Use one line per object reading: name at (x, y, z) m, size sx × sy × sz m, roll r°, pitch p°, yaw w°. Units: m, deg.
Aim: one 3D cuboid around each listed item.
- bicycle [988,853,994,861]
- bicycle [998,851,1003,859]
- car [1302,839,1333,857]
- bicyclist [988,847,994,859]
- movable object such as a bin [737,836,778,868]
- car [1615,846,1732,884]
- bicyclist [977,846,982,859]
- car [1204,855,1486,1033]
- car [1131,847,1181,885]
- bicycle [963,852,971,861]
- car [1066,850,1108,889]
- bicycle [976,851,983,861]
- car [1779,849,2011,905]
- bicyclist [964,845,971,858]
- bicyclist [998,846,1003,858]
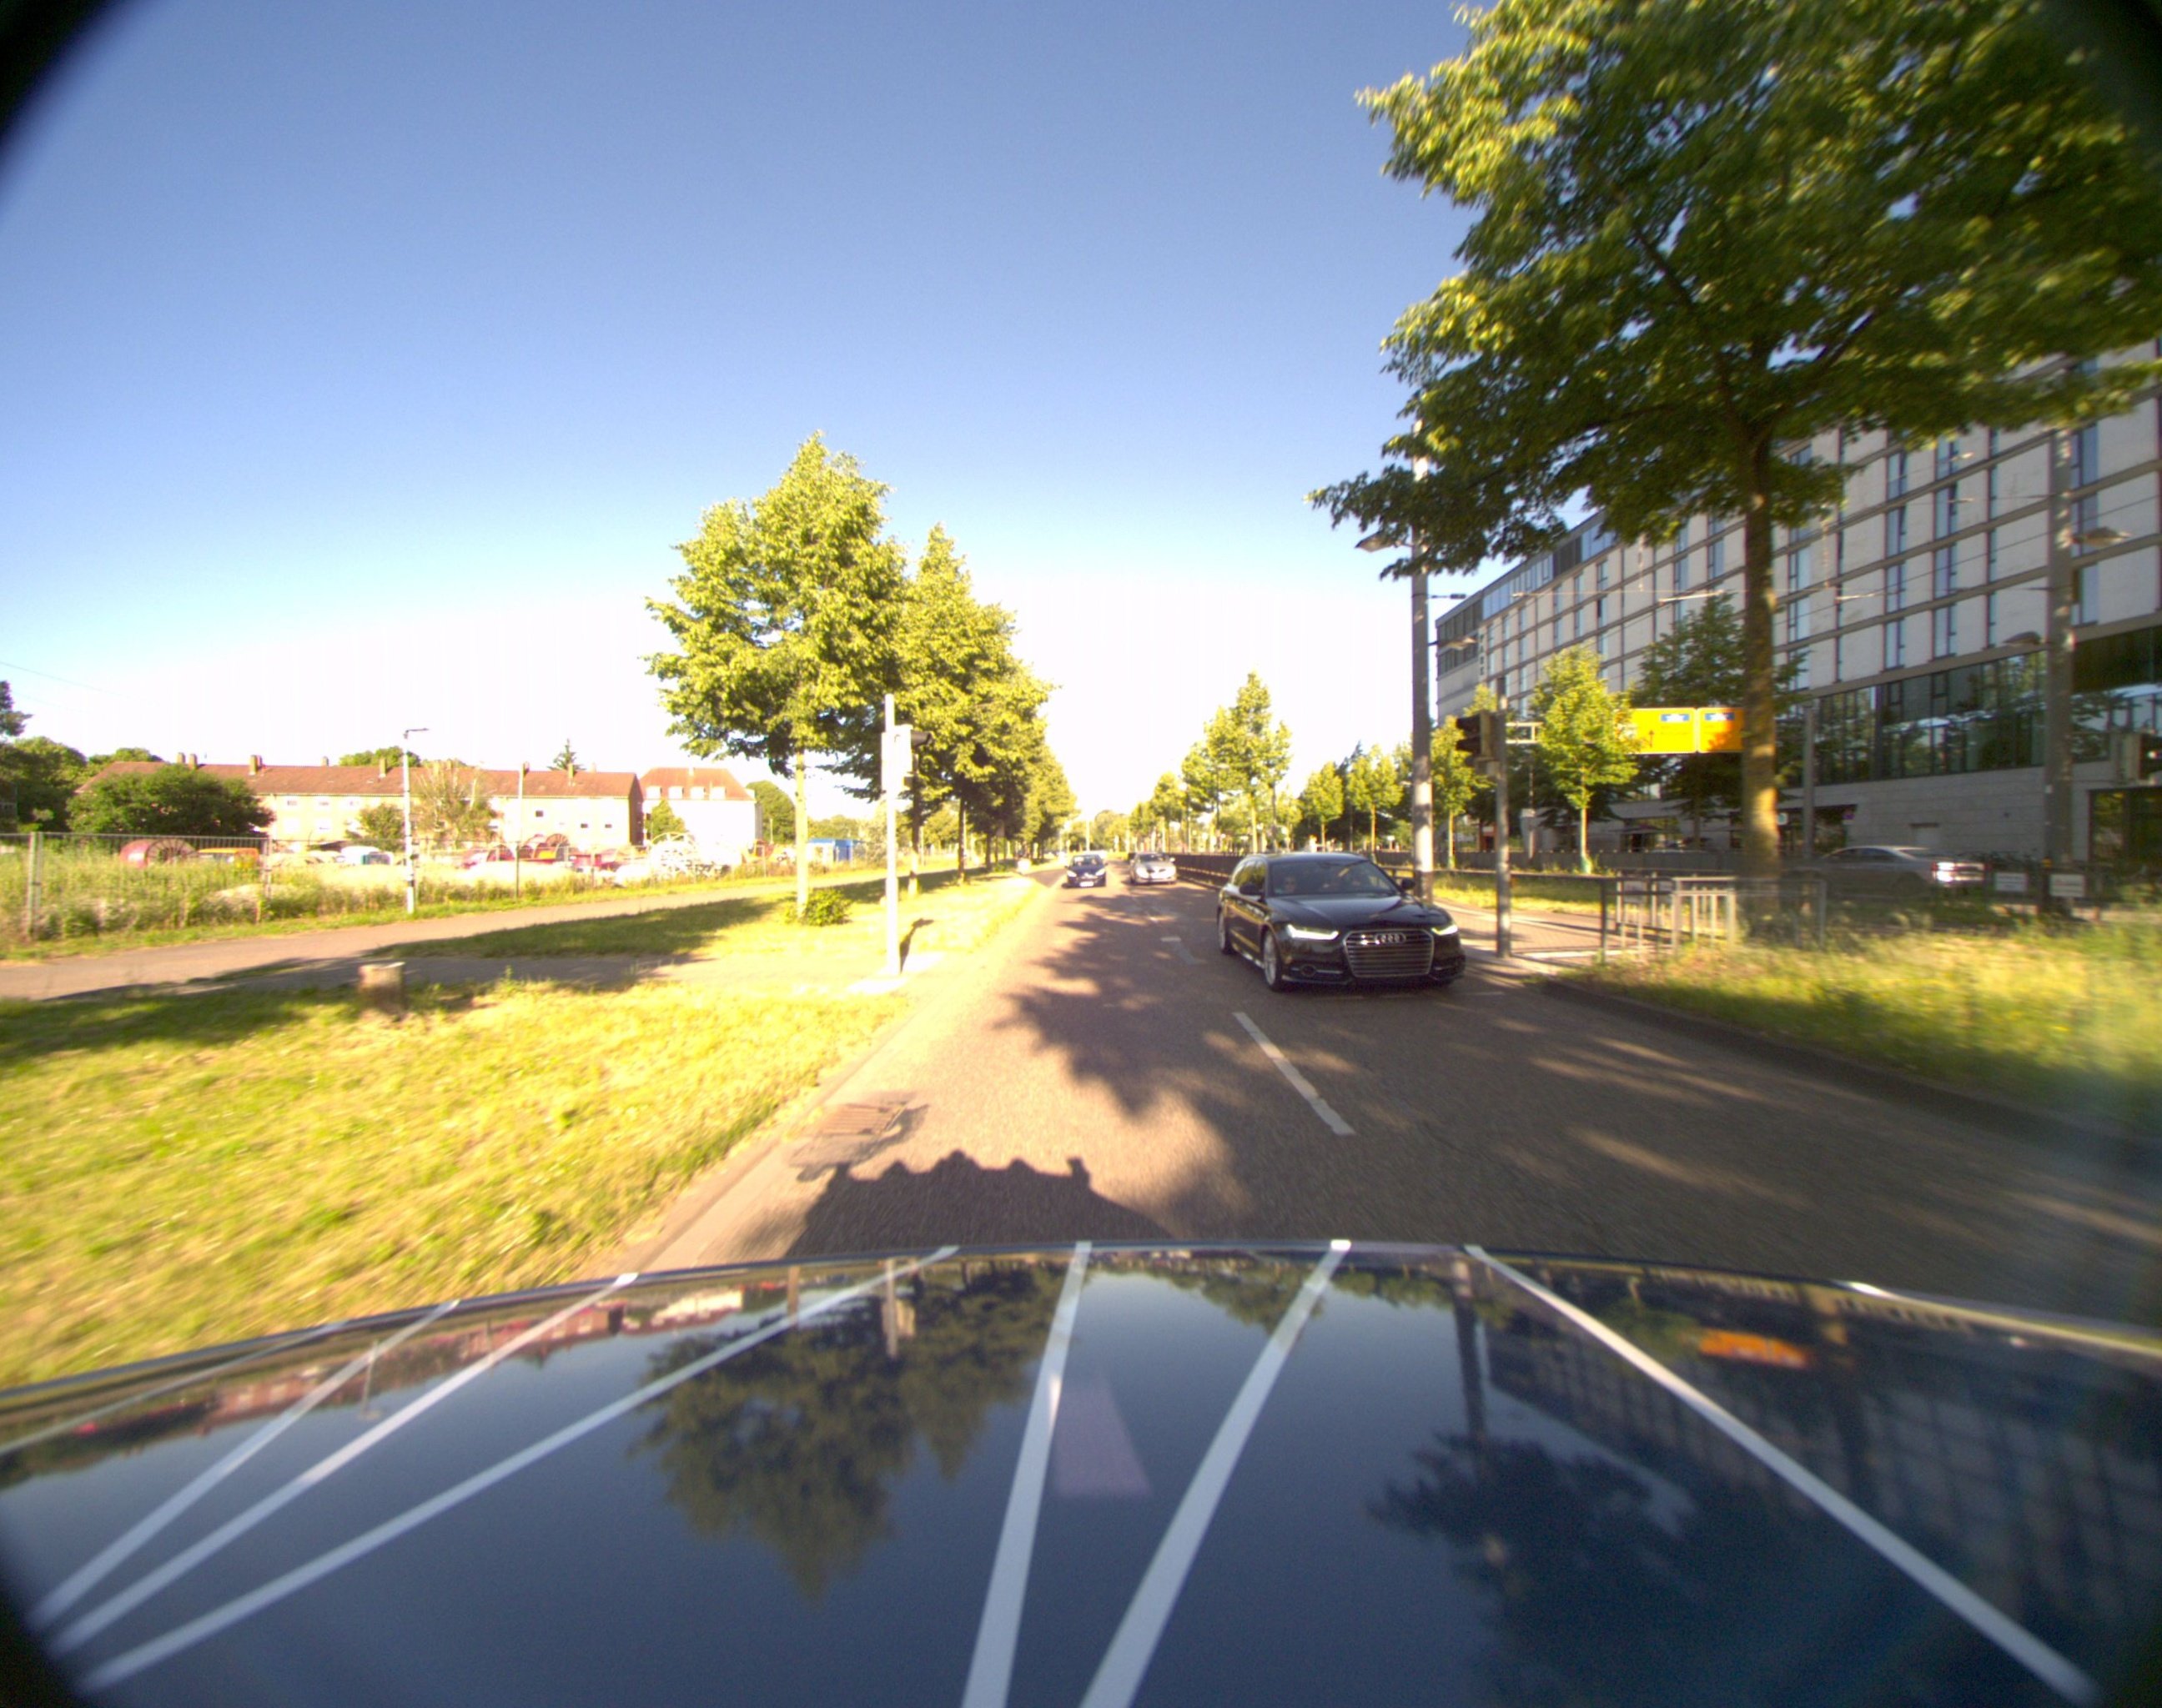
bicycle at (-11.981, 0.419, 101.114) m, size 0.592 × 0.955 × 1.900 m, roll -1°, pitch 2°, yaw 1°
bicycle at (-10.678, 0.138, 101.036) m, size 0.479 × 1.076 × 1.643 m, roll -1°, pitch 2°, yaw 2°
car at (24.275, -0.642, 78.125) m, size 1.998 × 1.740 × 4.227 m, roll 0°, pitch 1°, yaw 1°
bicyclist at (-11.995, -0.155, 101.103) m, size 0.592 × 1.578 × 0.965 m, roll -1°, pitch 3°, yaw 1°
movable object such as a bin at (-21.088, -0.133, 49.636) m, size 1.799 × 2.003 × 1.789 m, roll -1°, pitch 2°, yaw 2°
car at (25.803, 0.423, 33.300) m, size 1.764 × 1.396 × 4.332 m, roll -1°, pitch 2°, yaw 1°
bicyclist at (-11.847, -0.181, 88.866) m, size 0.504 × 1.464 × 0.833 m, roll -1°, pitch 2°, yaw 0°
car at (2.794, 0.825, 9.255) m, size 1.789 × 1.518 × 4.600 m, roll -2°, pitch 1°, yaw 0°
car at (3.301, 0.486, 34.295) m, size 1.849 × 1.560 × 4.528 m, roll -1°, pitch 1°, yaw 1°
bicycle at (-13.326, 0.309, 88.963) m, size 0.657 × 1.006 × 1.820 m, roll -1°, pitch 1°, yaw 1°
car at (0.316, 0.649, 34.583) m, size 1.763 × 1.507 × 3.947 m, roll -1°, pitch 2°, yaw 2°
bicycle at (-11.863, 0.198, 88.896) m, size 0.507 × 1.145 × 1.604 m, roll 0°, pitch 1°, yaw 1°
car at (22.826, 0.565, 21.634) m, size 1.823 × 1.395 × 4.509 m, roll -1°, pitch 0°, yaw 1°
bicyclist at (-13.311, -0.285, 88.946) m, size 0.654 × 1.544 × 0.794 m, roll -1°, pitch 2°, yaw 1°
bicyclist at (-10.689, -0.289, 100.995) m, size 0.471 × 1.478 × 0.915 m, roll -1°, pitch 3°, yaw 2°
